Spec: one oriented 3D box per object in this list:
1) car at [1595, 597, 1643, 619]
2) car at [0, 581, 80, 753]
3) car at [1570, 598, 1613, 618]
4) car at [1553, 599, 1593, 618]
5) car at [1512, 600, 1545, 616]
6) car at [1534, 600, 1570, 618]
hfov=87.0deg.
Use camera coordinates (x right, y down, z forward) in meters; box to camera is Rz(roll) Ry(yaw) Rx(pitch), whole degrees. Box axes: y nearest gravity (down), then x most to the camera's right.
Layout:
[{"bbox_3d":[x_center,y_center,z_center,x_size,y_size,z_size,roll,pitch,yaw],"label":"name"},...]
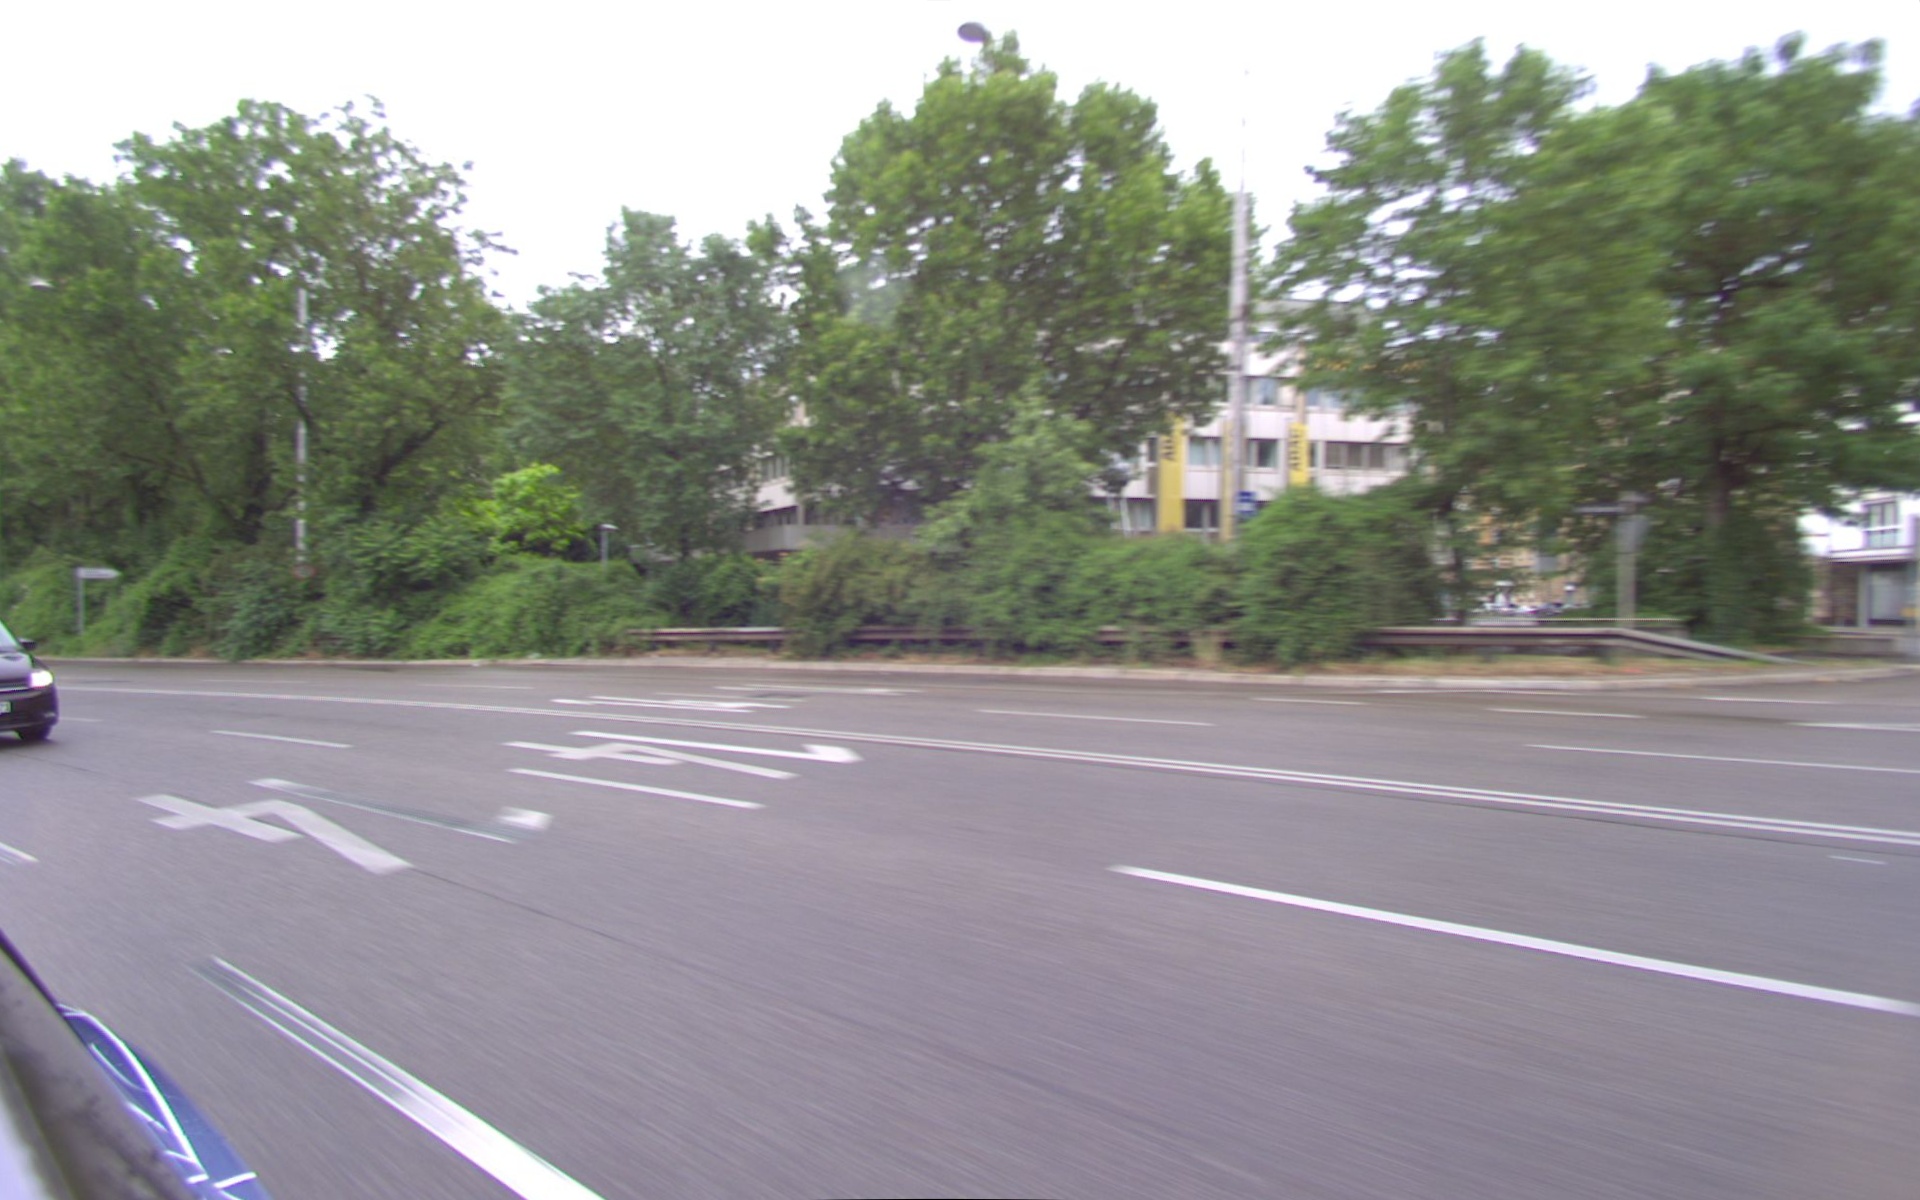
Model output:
[{"bbox_3d":[50.990,0.614,78.374,1.858,1.589,3.981,1,0,14],"label":"car"},{"bbox_3d":[-12.075,0.748,11.483,4.105,1.813,1.780,-1,0,28],"label":"car"},{"bbox_3d":[52.076,0.656,83.545,1.858,1.589,3.981,1,0,14],"label":"car"},{"bbox_3d":[53.260,0.747,87.959,1.858,1.589,3.981,1,0,14],"label":"car"},{"bbox_3d":[55.688,0.786,99.179,1.858,1.589,3.981,1,0,14],"label":"car"},{"bbox_3d":[54.457,0.790,93.147,1.858,1.589,3.981,1,0,14],"label":"car"}]
